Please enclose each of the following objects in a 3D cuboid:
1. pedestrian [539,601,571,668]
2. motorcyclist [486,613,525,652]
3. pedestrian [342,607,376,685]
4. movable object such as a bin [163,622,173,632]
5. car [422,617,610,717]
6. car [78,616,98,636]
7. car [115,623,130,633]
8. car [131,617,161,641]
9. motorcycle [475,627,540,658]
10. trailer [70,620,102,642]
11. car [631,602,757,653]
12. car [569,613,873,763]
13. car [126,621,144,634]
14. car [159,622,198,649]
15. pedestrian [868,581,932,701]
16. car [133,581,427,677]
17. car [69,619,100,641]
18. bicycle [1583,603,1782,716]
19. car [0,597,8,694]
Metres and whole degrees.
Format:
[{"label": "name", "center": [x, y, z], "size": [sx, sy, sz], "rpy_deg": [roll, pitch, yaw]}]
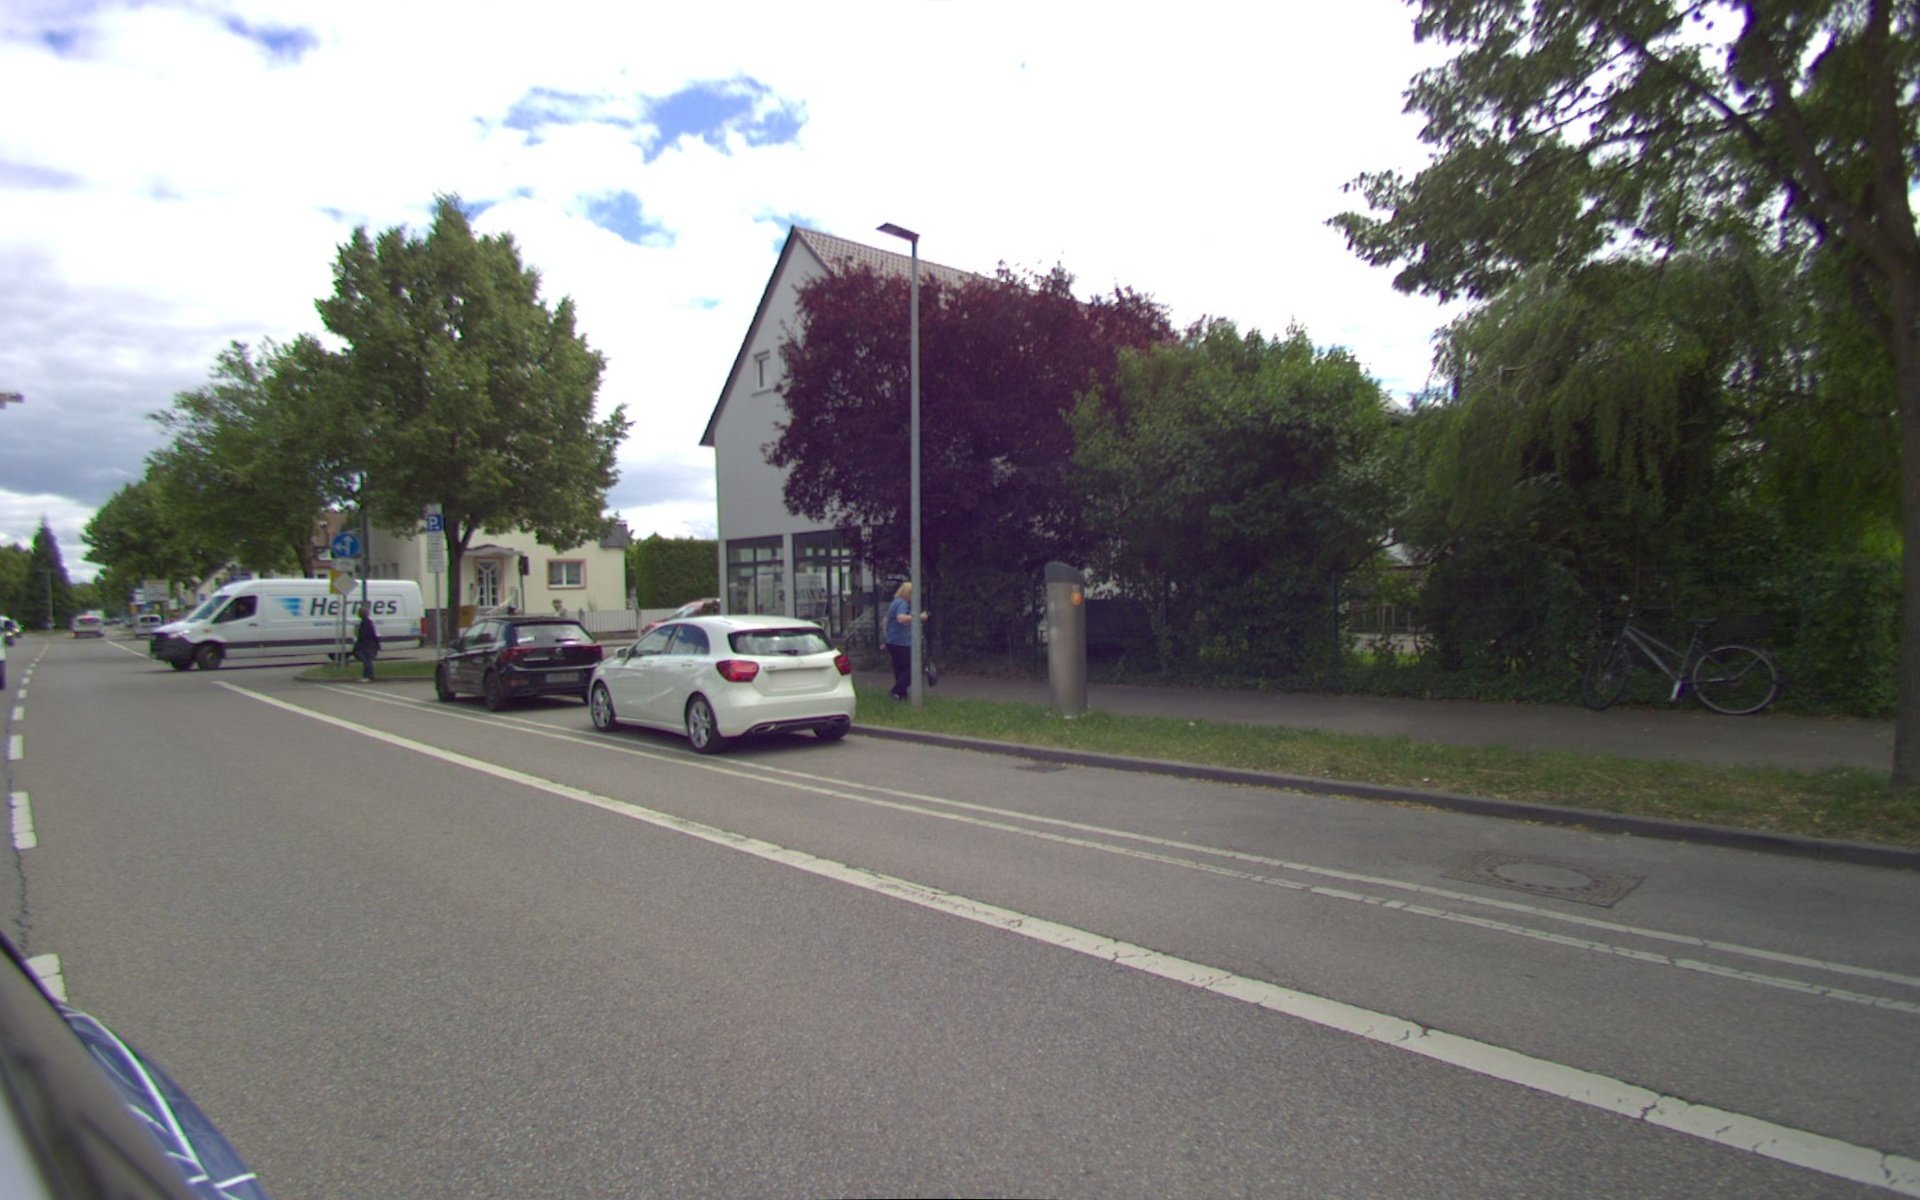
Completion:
[{"label": "pedestrian", "center": [-9.755, 0.822, 24.361], "size": [0.425, 1.563, 0.807], "rpy_deg": [-1, 0, -42]}, {"label": "motorcyclist", "center": [-16.335, 1.152, 36.365], "size": [1.093, 1.375, 0.754], "rpy_deg": [-1, -1, -44]}, {"label": "pedestrian", "center": [-13.386, 1.016, 22.542], "size": [0.535, 1.694, 0.752], "rpy_deg": [-3, -1, -34]}, {"label": "movable object such as a bin", "center": [-110.299, 3.742, 140.928], "size": [0.969, 1.427, 2.726], "rpy_deg": [-2, 0, -42]}, {"label": "car", "center": [-7.418, 1.019, 16.701], "size": [1.623, 1.431, 4.024], "rpy_deg": [0, -1, -43]}, {"label": "car", "center": [-118.974, 3.527, 138.139], "size": [1.994, 2.694, 5.814], "rpy_deg": [-1, 0, -40]}, {"label": "car", "center": [-140.061, 4.656, 169.207], "size": [1.641, 1.486, 3.751], "rpy_deg": [-1, 0, -43]}, {"label": "car", "center": [-65.327, 2.311, 81.186], "size": [1.748, 1.784, 4.558], "rpy_deg": [-1, 0, -40]}, {"label": "motorcycle", "center": [-16.286, 1.509, 36.448], "size": [2.088, 1.039, 0.481], "rpy_deg": [-1, -1, -44]}, {"label": "trailer", "center": [-73.331, 2.595, 84.886], "size": [1.915, 1.689, 4.693], "rpy_deg": [-1, -1, -42]}, {"label": "car", "center": [-10.061, 0.976, 38.501], "size": [1.873, 1.791, 4.299], "rpy_deg": [1, 1, 44]}, {"label": "car", "center": [-2.977, 0.893, 11.917], "size": [1.693, 1.417, 4.306], "rpy_deg": [0, -1, -41]}, {"label": "car", "center": [-114.961, 3.837, 141.031], "size": [1.725, 1.648, 4.053], "rpy_deg": [-2, 0, -42]}, {"label": "car", "center": [-47.725, 2.131, 61.762], "size": [1.664, 1.553, 4.138], "rpy_deg": [0, -1, -40]}, {"label": "pedestrian", "center": [-0.780, 0.536, 13.327], "size": [0.692, 1.540, 0.581], "rpy_deg": [-1, 0, 12]}, {"label": "car", "center": [-20.701, 0.781, 31.307], "size": [2.215, 2.614, 7.227], "rpy_deg": [-2, 0, 35]}, {"label": "car", "center": [-76.514, 2.604, 88.409], "size": [1.943, 1.844, 4.824], "rpy_deg": [-1, -1, -42]}, {"label": "bicycle", "center": [7.270, 0.581, 10.232], "size": [1.581, 1.056, 0.457], "rpy_deg": [-2, 0, 41]}, {"label": "car", "center": [-22.600, 1.026, 22.507], "size": [1.970, 2.029, 5.054], "rpy_deg": [-1, 0, -44]}]
